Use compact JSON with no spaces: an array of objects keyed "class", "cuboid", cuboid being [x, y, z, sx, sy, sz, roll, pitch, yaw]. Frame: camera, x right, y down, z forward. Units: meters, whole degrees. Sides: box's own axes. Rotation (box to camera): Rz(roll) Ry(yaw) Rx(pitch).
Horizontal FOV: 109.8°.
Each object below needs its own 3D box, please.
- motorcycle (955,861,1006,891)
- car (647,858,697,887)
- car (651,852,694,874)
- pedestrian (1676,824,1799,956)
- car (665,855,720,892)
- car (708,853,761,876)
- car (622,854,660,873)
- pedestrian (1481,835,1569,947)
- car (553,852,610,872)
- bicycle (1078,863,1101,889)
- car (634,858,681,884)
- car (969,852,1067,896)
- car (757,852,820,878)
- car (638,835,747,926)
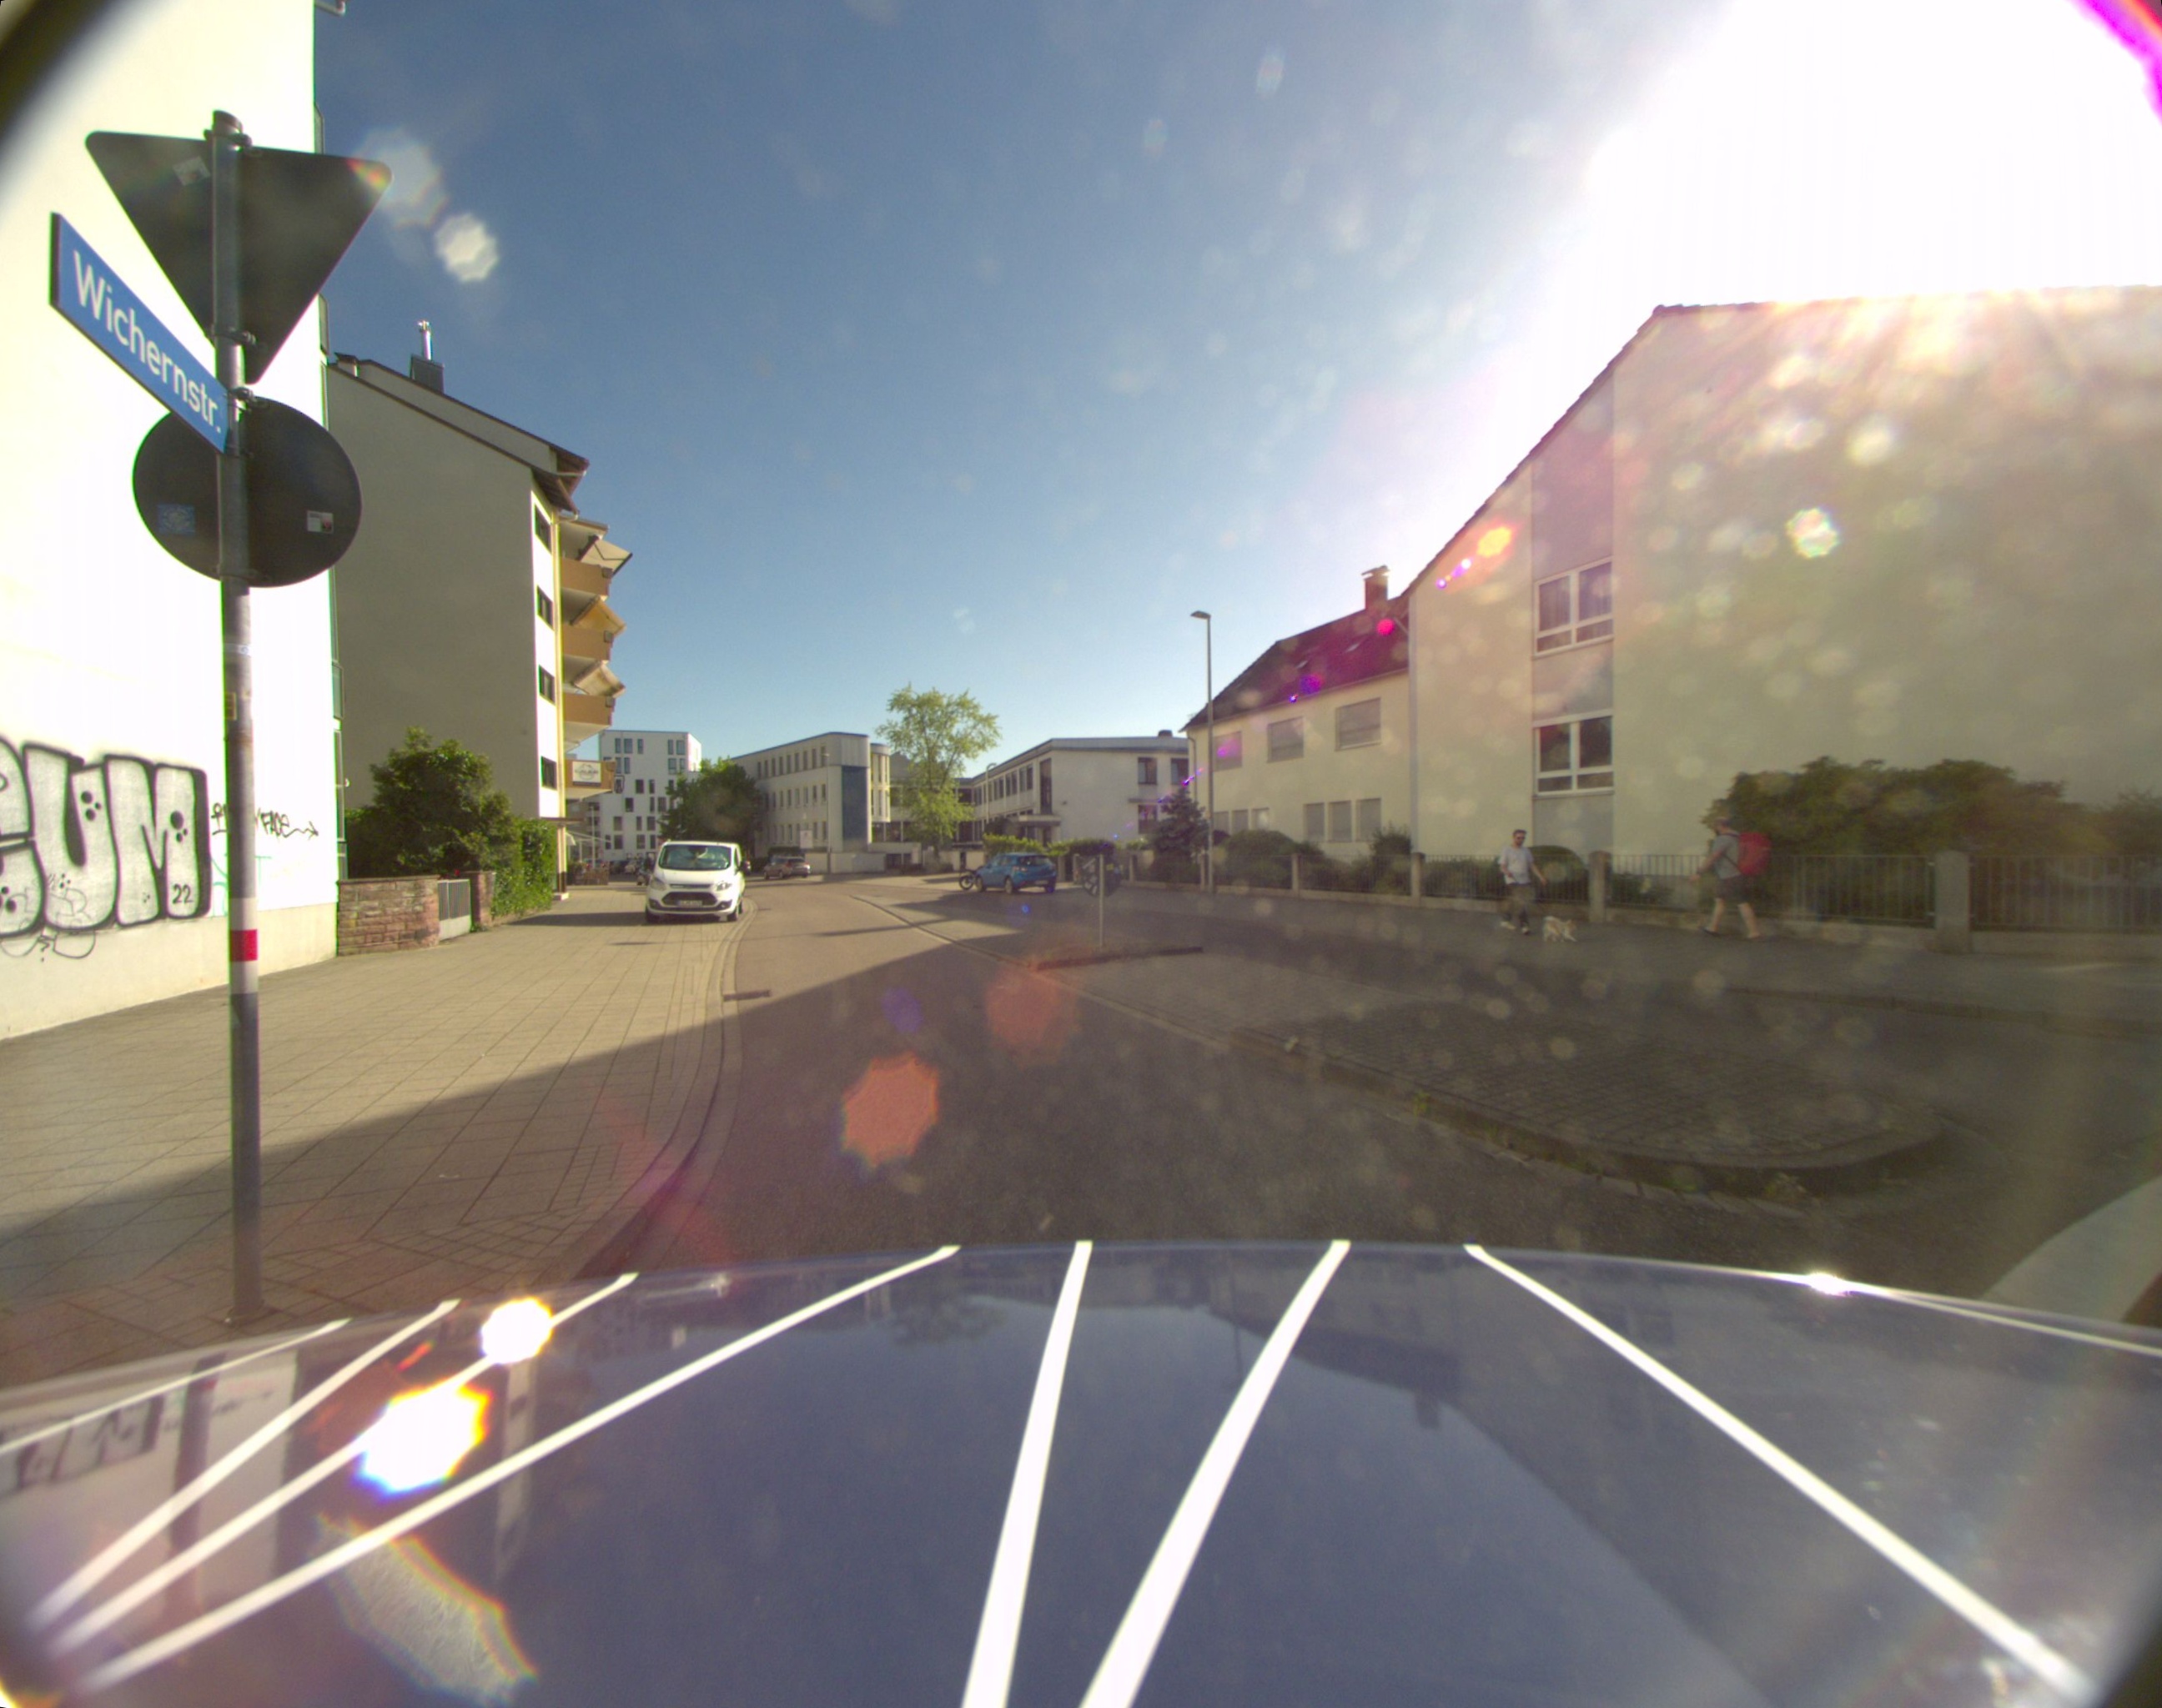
[{"class":"motorcycle","cuboid":[-4.072,0.892,30.902,1.963,1.089,0.590,-2,1,-1]},{"class":"car","cuboid":[-22.480,0.988,41.672,1.763,1.445,3.989,3,-2,-38]},{"class":"car","cuboid":[-37.988,0.817,70.586,2.143,1.800,4.821,-4,2,-44]},{"class":"pedestrian","cuboid":[9.028,0.462,10.482,0.820,1.696,0.995,-2,2,-17]},{"class":"car","cuboid":[-18.389,0.882,35.899,1.762,1.632,3.989,3,-2,-35]},{"class":"car","cuboid":[-26.912,0.805,58.913,2.143,1.604,4.821,-4,2,-44]},{"class":"car","cuboid":[-45.002,0.973,77.715,2.143,1.800,4.821,-4,2,-44]},{"class":"pedestrian","cuboid":[7.069,0.557,12.131,0.693,1.696,0.995,-2,2,-19]},{"class":"car","cuboid":[-50.254,0.790,76.592,2.137,1.726,4.836,-2,2,5]},{"class":"bicycle","cuboid":[0.334,0.856,30.342,0.346,1.010,1.260,-1,1,-29]},{"class":"car","cuboid":[-25.250,1.003,45.214,1.763,1.445,3.989,3,-2,-39]},{"class":"car","cuboid":[-2.431,0.702,28.308,1.888,1.426,4.404,-3,1,-30]},{"class":"car","cuboid":[-20.016,0.692,51.921,4.821,1.604,2.143,0,3,44]},{"class":"car","cuboid":[-9.702,0.615,19.337,2.002,2.001,4.788,2,-1,-22]}]
